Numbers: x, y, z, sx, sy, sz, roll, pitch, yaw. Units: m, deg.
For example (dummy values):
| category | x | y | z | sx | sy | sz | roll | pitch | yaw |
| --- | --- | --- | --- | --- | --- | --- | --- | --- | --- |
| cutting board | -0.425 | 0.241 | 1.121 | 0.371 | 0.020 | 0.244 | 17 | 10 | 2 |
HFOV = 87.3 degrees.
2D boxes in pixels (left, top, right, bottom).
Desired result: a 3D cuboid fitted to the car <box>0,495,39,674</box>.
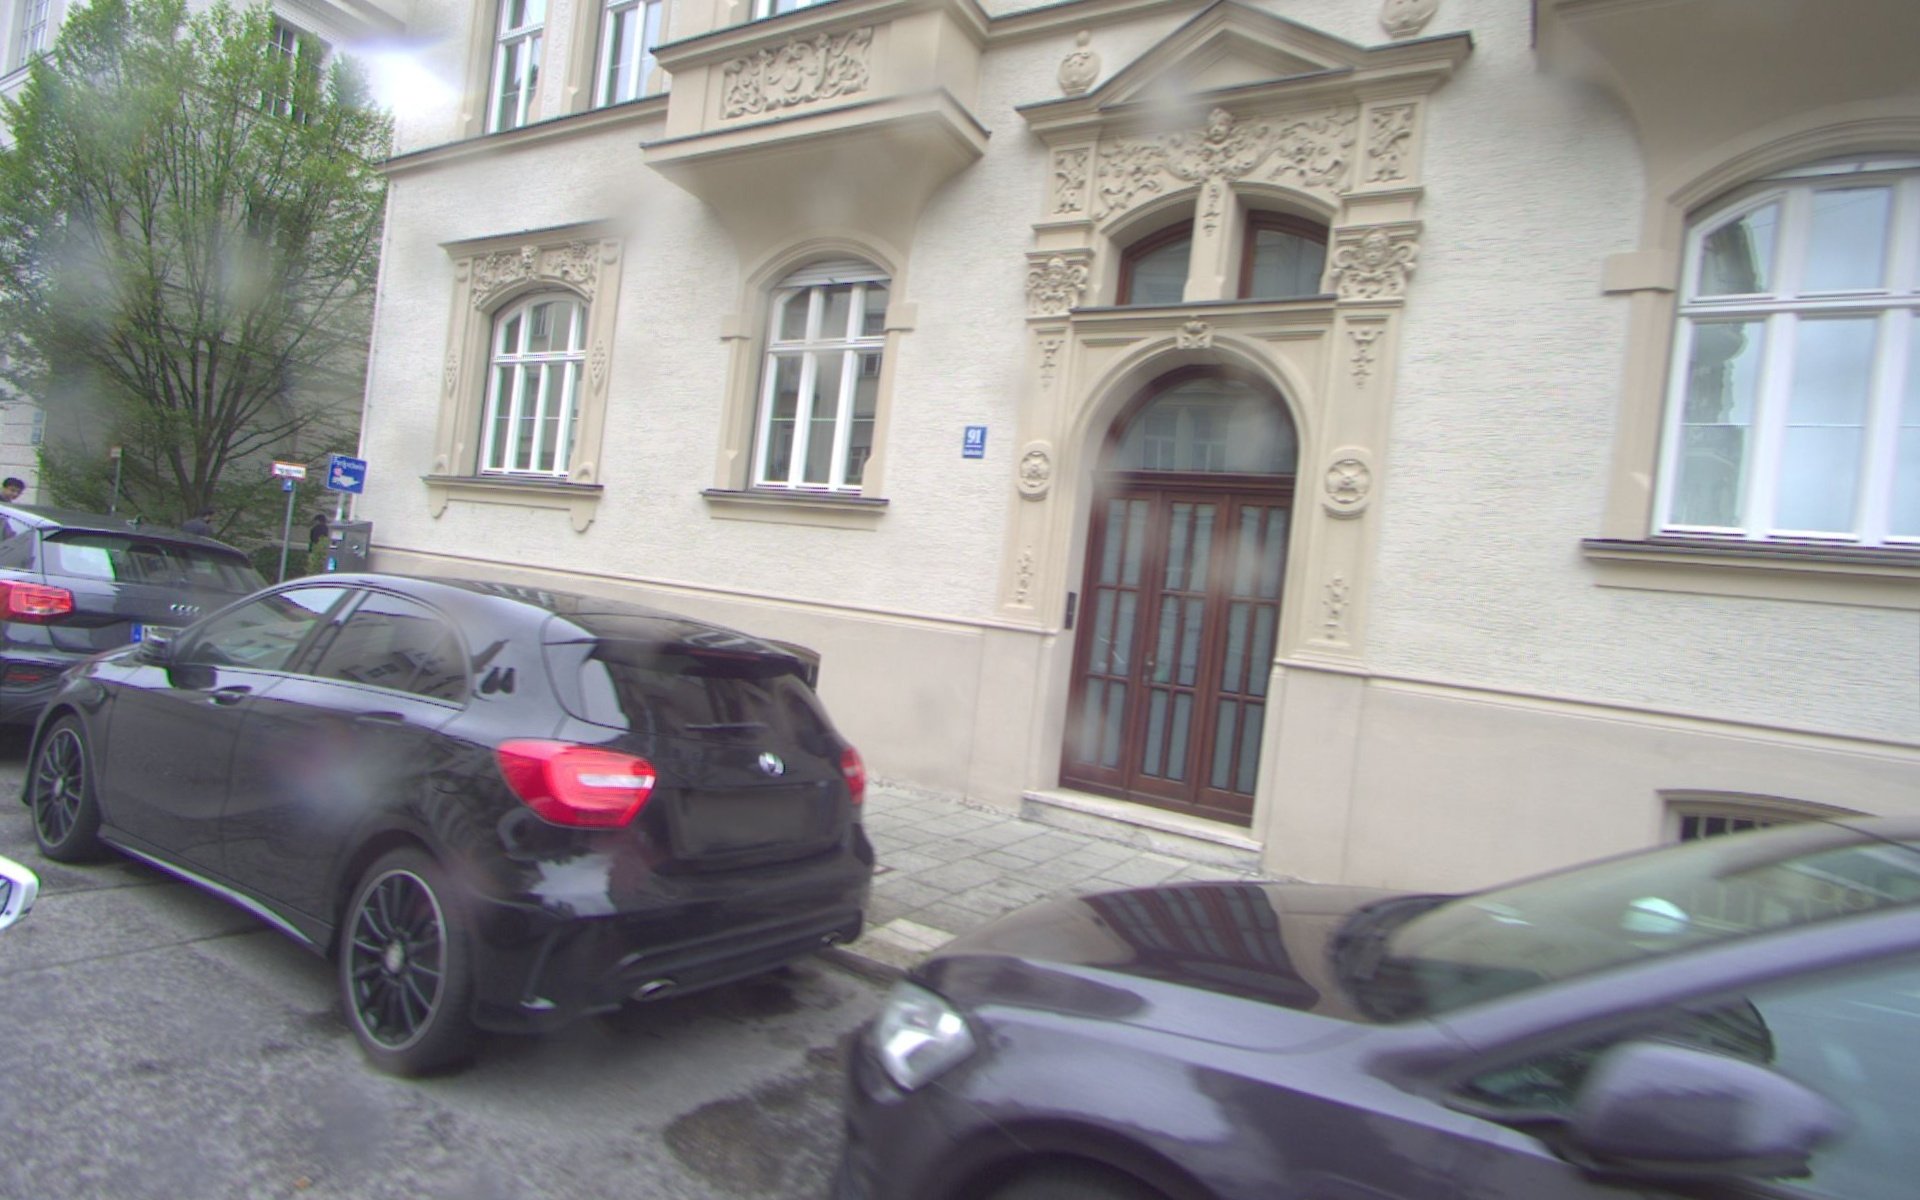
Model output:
| category | x | y | z | sx | sy | sz | roll | pitch | yaw |
| --- | --- | --- | --- | --- | --- | --- | --- | --- | --- |
| car | -10.270 | -0.417 | 9.040 | 3.994 | 1.526 | 1.666 | 8 | 0 | 29 |

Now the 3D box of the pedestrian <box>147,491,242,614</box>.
| category | x | y | z | sx | sy | sz | roll | pitch | yaw |
| --- | --- | --- | --- | --- | --- | --- | --- | --- | --- |
| pedestrian | -12.338 | -0.754 | 16.229 | 0.667 | 1.840 | 0.861 | 8 | 1 | 30 |

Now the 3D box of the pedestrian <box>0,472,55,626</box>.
| category | x | y | z | sx | sy | sz | roll | pitch | yaw |
| --- | --- | --- | --- | --- | --- | --- | --- | --- | --- |
| pedestrian | -11.552 | -0.632 | 12.130 | 0.661 | 1.791 | 0.628 | 8 | 1 | 30 |

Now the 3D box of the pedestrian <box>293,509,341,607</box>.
| category | x | y | z | sx | sy | sz | roll | pitch | yaw |
| --- | --- | --- | --- | --- | --- | --- | --- | --- | --- |
| pedestrian | -12.480 | -0.813 | 19.525 | 0.548 | 1.817 | 0.570 | 7 | 1 | -25 |

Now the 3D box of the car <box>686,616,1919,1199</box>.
| category | x | y | z | sx | sy | sz | roll | pitch | yaw |
| --- | --- | --- | --- | --- | --- | --- | --- | --- | --- |
| car | 1.594 | 1.026 | 1.632 | 3.934 | 1.434 | 1.644 | 7 | -1 | 32 |

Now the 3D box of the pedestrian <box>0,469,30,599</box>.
| category | x | y | z | sx | sy | sz | roll | pitch | yaw |
| --- | --- | --- | --- | --- | --- | --- | --- | --- | --- |
| pedestrian | -13.718 | -0.968 | 13.978 | 0.661 | 1.791 | 0.883 | 8 | 1 | 30 |

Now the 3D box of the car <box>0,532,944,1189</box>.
| category | x | y | z | sx | sy | sz | roll | pitch | yaw |
| --- | --- | --- | --- | --- | --- | --- | --- | --- | --- |
| car | -2.266 | 0.669 | 4.293 | 3.956 | 1.413 | 1.746 | 6 | -3 | 32 |

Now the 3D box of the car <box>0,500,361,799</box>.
| category | x | y | z | sx | sy | sz | roll | pitch | yaw |
| --- | --- | --- | --- | --- | --- | --- | --- | --- | --- |
| car | -6.355 | 0.144 | 6.998 | 4.011 | 1.515 | 1.797 | 8 | -2 | 28 |
